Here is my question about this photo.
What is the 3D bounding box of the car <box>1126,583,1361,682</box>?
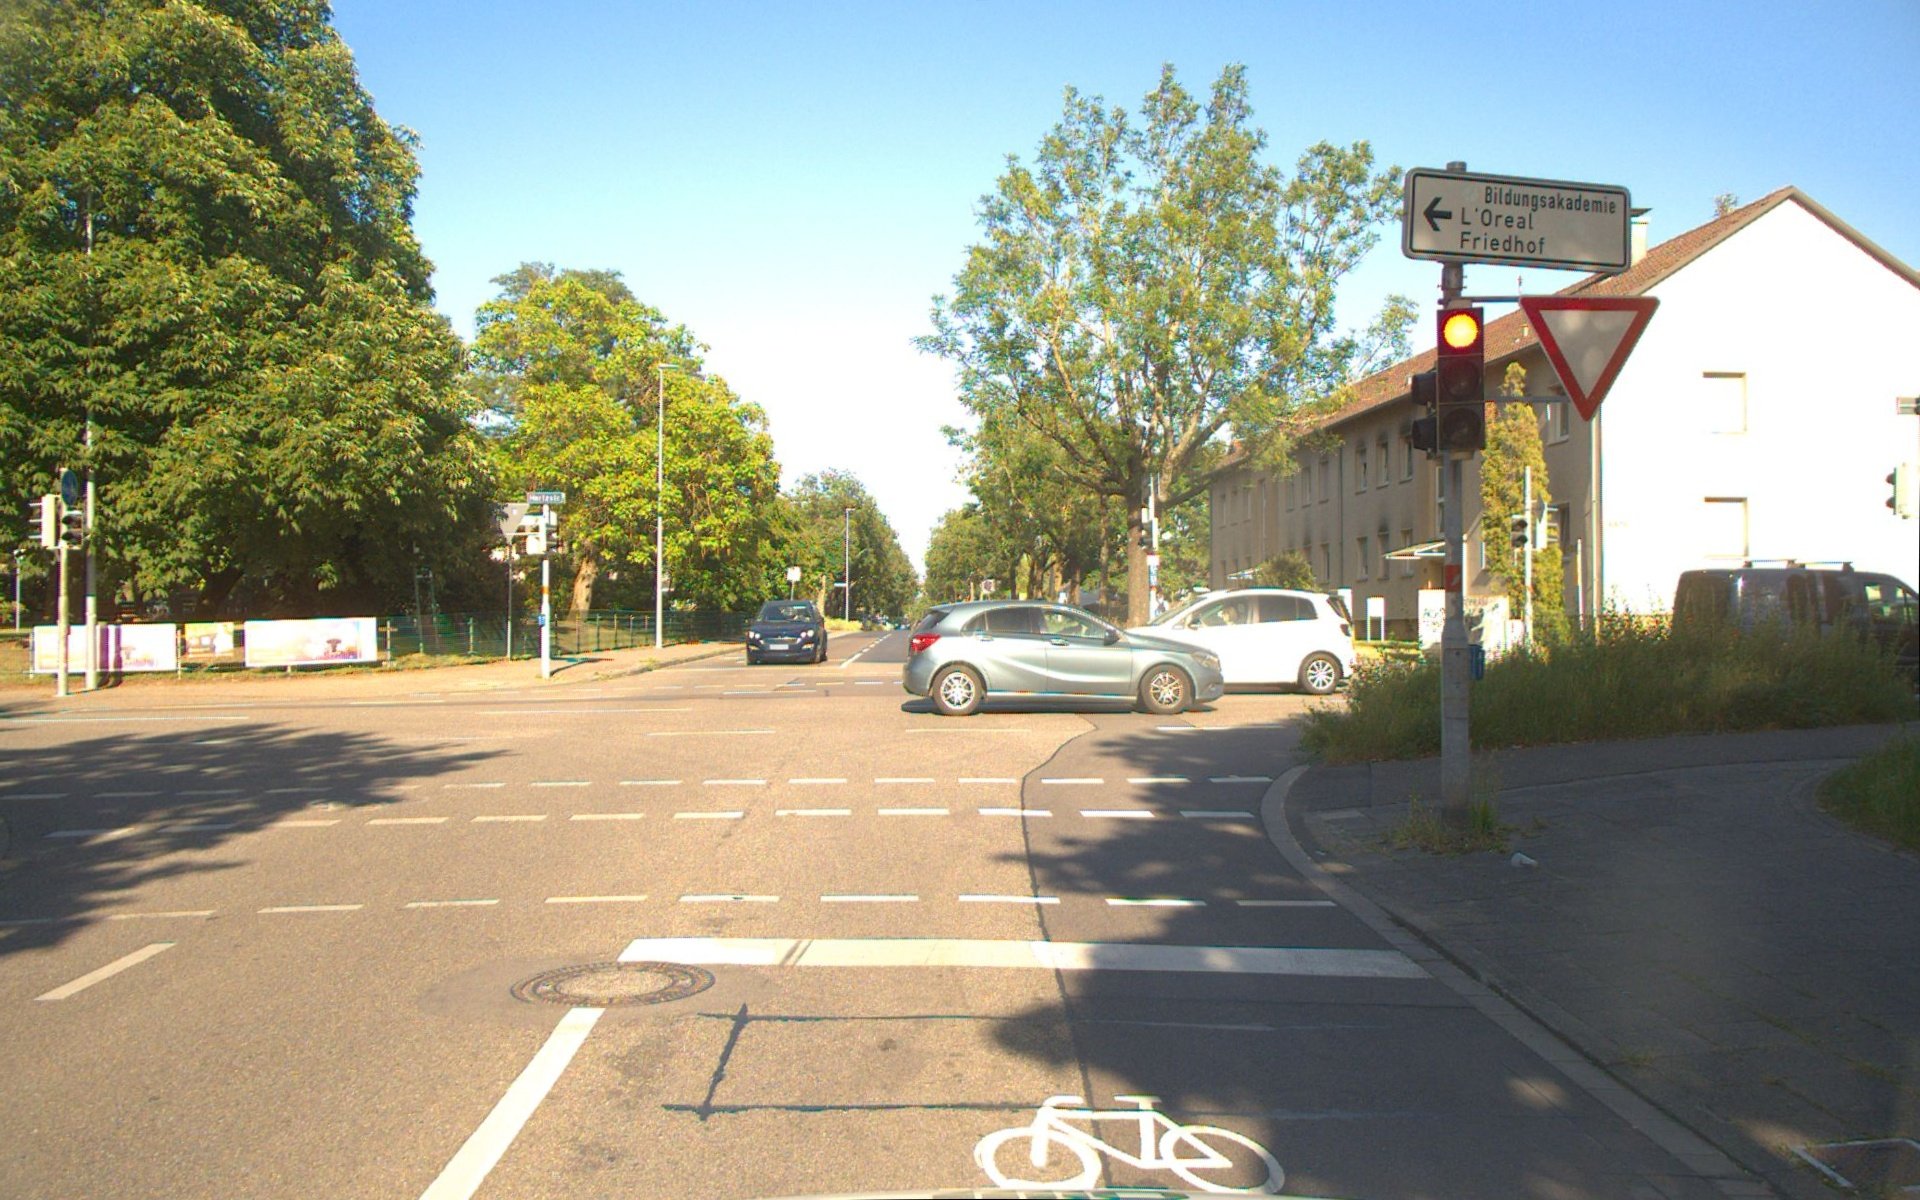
[{"bbox_3d":[4.915,0.543,28.836,3.902,1.610,1.759,1,-1,9],"label":"car"}]

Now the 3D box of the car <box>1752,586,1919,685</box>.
[{"bbox_3d":[15.039,0.506,25.767,4.644,1.455,1.994,0,0,-12],"label":"car"}]

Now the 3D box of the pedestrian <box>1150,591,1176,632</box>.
[{"bbox_3d":[7.650,0.436,62.401,0.825,1.519,0.924,2,0,-1],"label":"pedestrian"}]

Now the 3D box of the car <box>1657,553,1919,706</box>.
[{"bbox_3d":[11.795,0.358,22.039,4.260,1.920,1.858,-1,0,-5],"label":"car"}]

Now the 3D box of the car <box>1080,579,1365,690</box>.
[{"bbox_3d":[3.975,0.521,25.424,4.026,1.591,1.756,1,-1,-5],"label":"car"}]

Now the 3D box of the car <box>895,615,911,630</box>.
[{"bbox_3d":[-6.486,2.615,189.774,1.722,1.653,3.268,0,0,0],"label":"car"}]

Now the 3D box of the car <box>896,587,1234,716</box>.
[{"bbox_3d":[1.279,0.634,21.577,4.198,1.515,1.912,-1,0,-3],"label":"car"}]

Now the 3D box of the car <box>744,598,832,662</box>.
[{"bbox_3d":[-3.958,0.662,38.548,1.676,1.410,3.471,0,0,0],"label":"car"}]
